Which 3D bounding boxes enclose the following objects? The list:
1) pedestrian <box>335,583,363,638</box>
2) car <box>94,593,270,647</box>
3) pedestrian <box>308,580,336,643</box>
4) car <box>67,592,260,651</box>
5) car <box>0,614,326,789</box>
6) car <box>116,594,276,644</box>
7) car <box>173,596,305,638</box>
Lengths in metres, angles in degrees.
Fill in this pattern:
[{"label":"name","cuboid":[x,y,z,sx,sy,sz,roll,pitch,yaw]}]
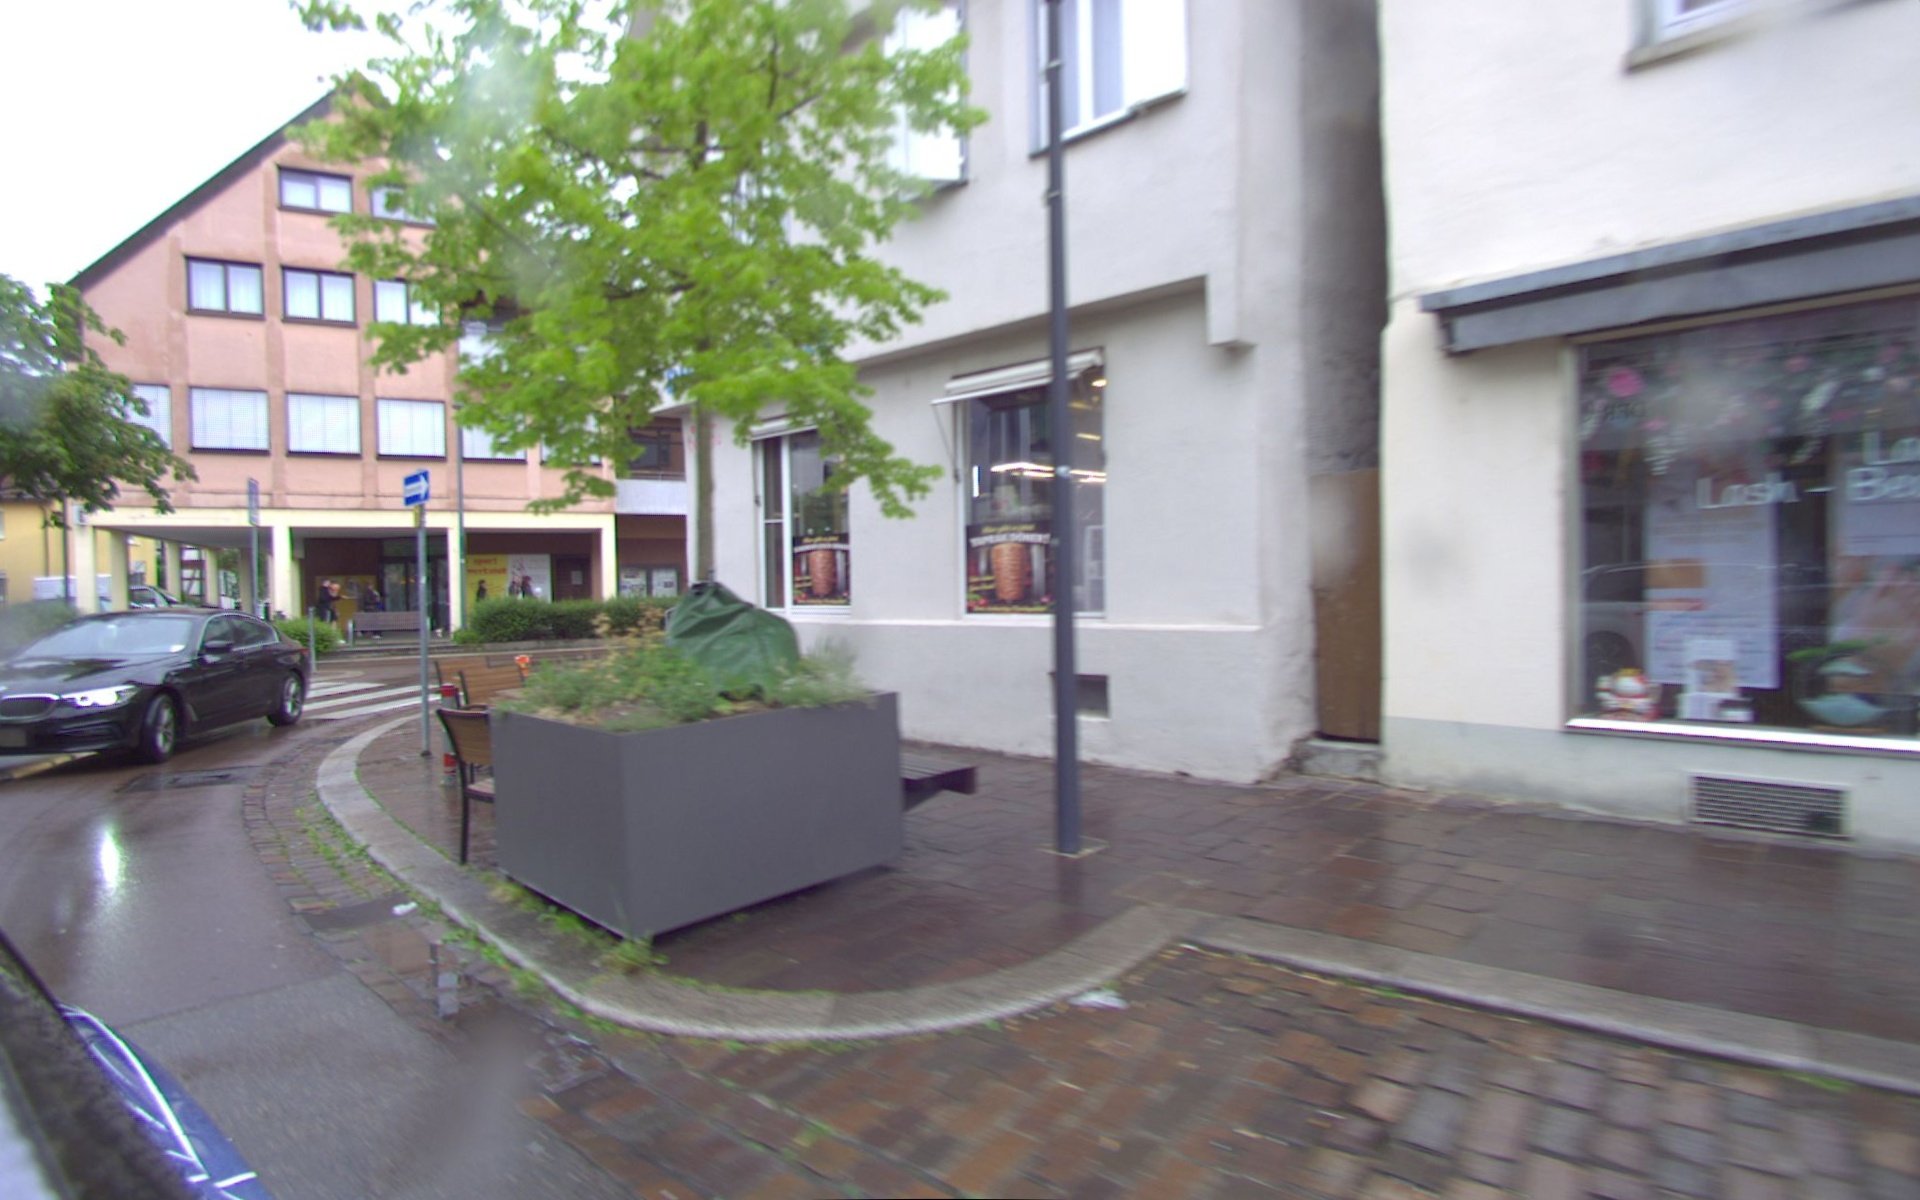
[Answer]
[{"label":"pedestrian","cuboid":[-16.224,0.273,26.882,0.578,1.449,0.481,-1,0,-27]},{"label":"car","cuboid":[-23.080,0.566,30.231,3.931,1.497,2.006,-1,0,-30]},{"label":"pedestrian","cuboid":[-16.763,0.294,26.599,0.578,1.645,0.481,-1,0,-27]},{"label":"car","cuboid":[-21.863,0.550,28.004,3.931,1.497,2.006,-1,0,-30]},{"label":"car","cuboid":[-8.852,0.909,10.876,1.967,1.417,4.906,-2,0,-14]},{"label":"car","cuboid":[-24.825,0.588,33.089,3.931,1.497,2.006,-1,0,-30]},{"label":"car","cuboid":[-27.593,0.623,38.903,3.931,1.497,2.006,-1,0,-30]}]
